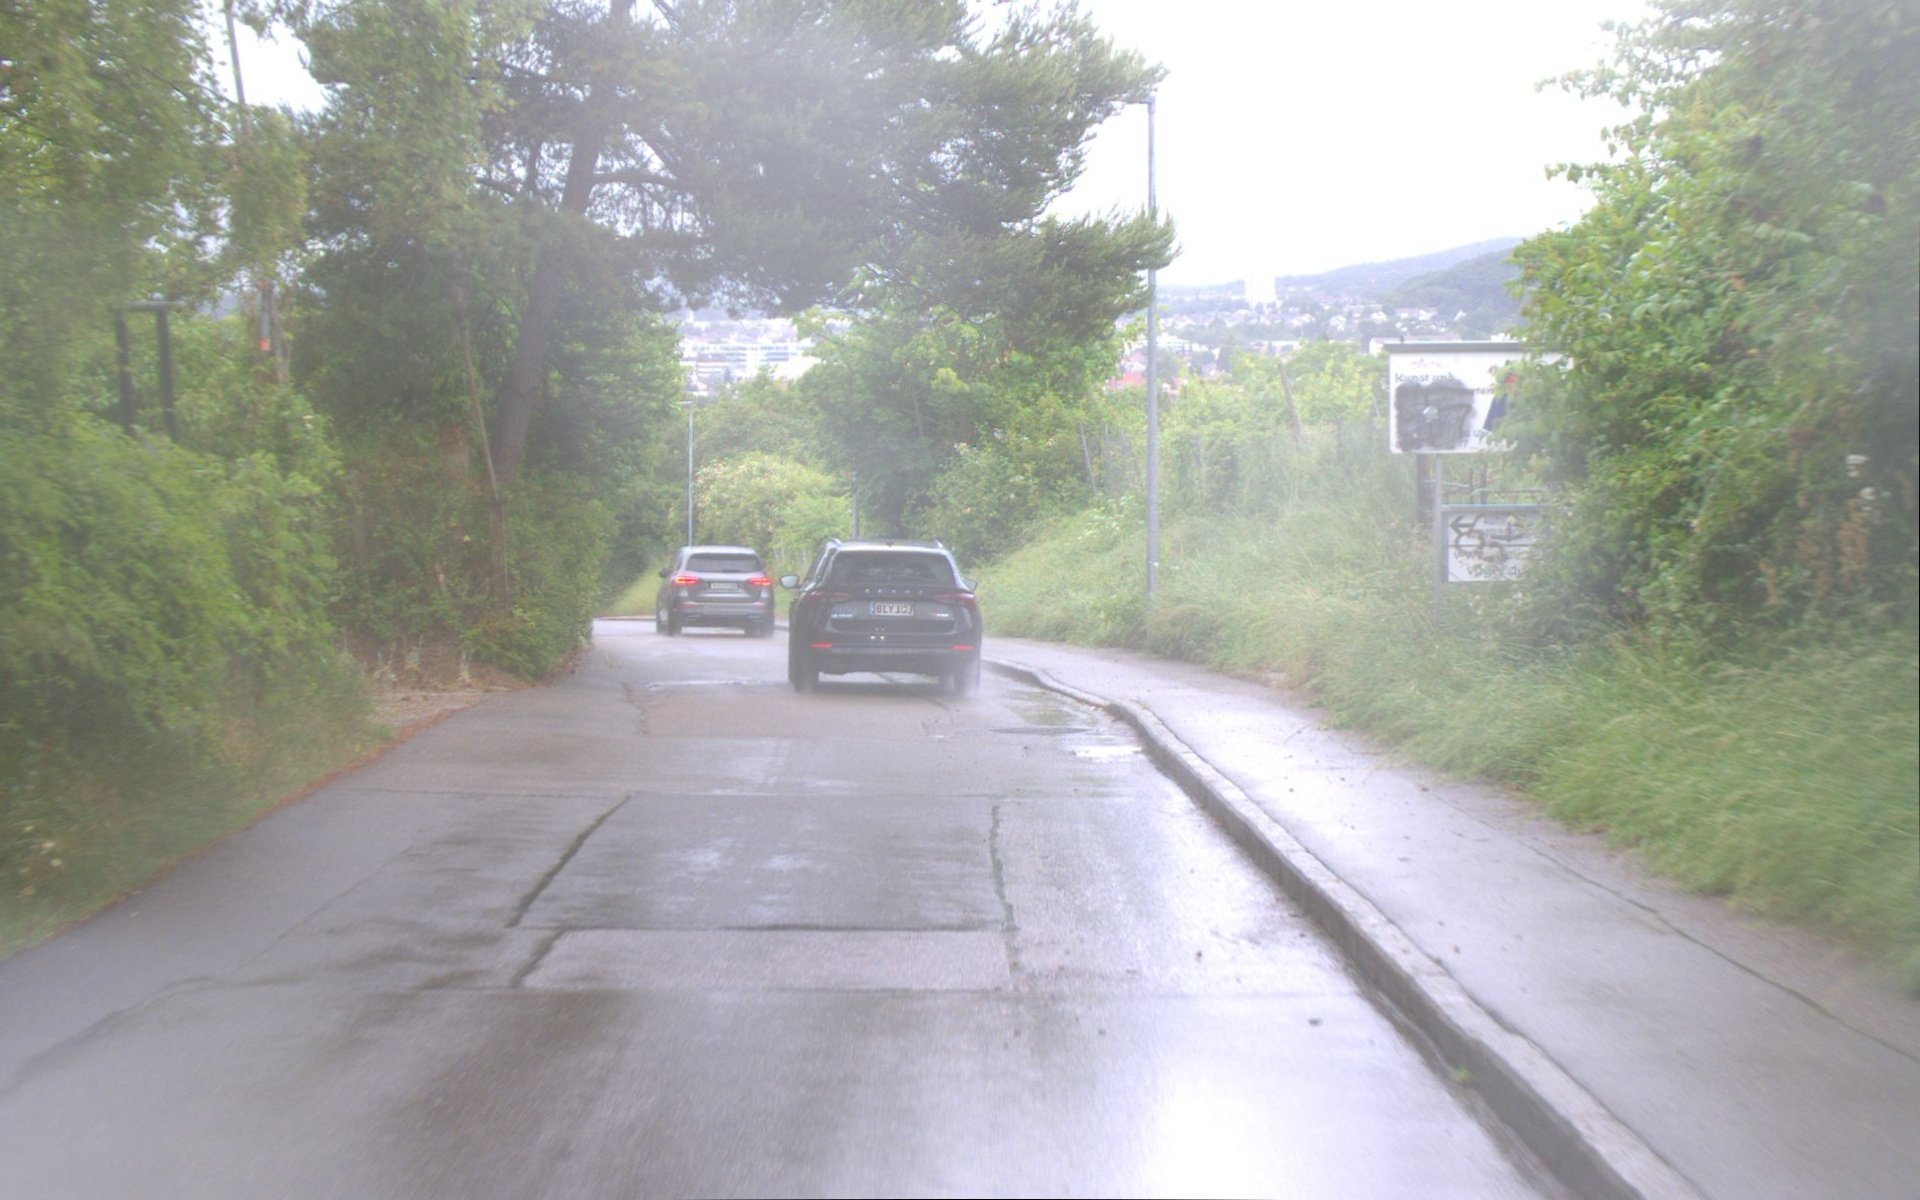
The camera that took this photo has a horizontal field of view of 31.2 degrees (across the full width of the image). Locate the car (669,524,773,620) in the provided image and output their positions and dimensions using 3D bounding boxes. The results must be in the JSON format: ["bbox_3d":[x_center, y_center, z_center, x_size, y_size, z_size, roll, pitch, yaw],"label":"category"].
[{"bbox_3d":[-4.130,-0.503,59.027,1.678,1.560,3.795,1,1,-5],"label":"car"}]

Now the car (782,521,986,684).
[{"bbox_3d":[-0.742,-0.005,33.068,1.835,1.459,4.000,0,1,-2],"label":"car"}]
